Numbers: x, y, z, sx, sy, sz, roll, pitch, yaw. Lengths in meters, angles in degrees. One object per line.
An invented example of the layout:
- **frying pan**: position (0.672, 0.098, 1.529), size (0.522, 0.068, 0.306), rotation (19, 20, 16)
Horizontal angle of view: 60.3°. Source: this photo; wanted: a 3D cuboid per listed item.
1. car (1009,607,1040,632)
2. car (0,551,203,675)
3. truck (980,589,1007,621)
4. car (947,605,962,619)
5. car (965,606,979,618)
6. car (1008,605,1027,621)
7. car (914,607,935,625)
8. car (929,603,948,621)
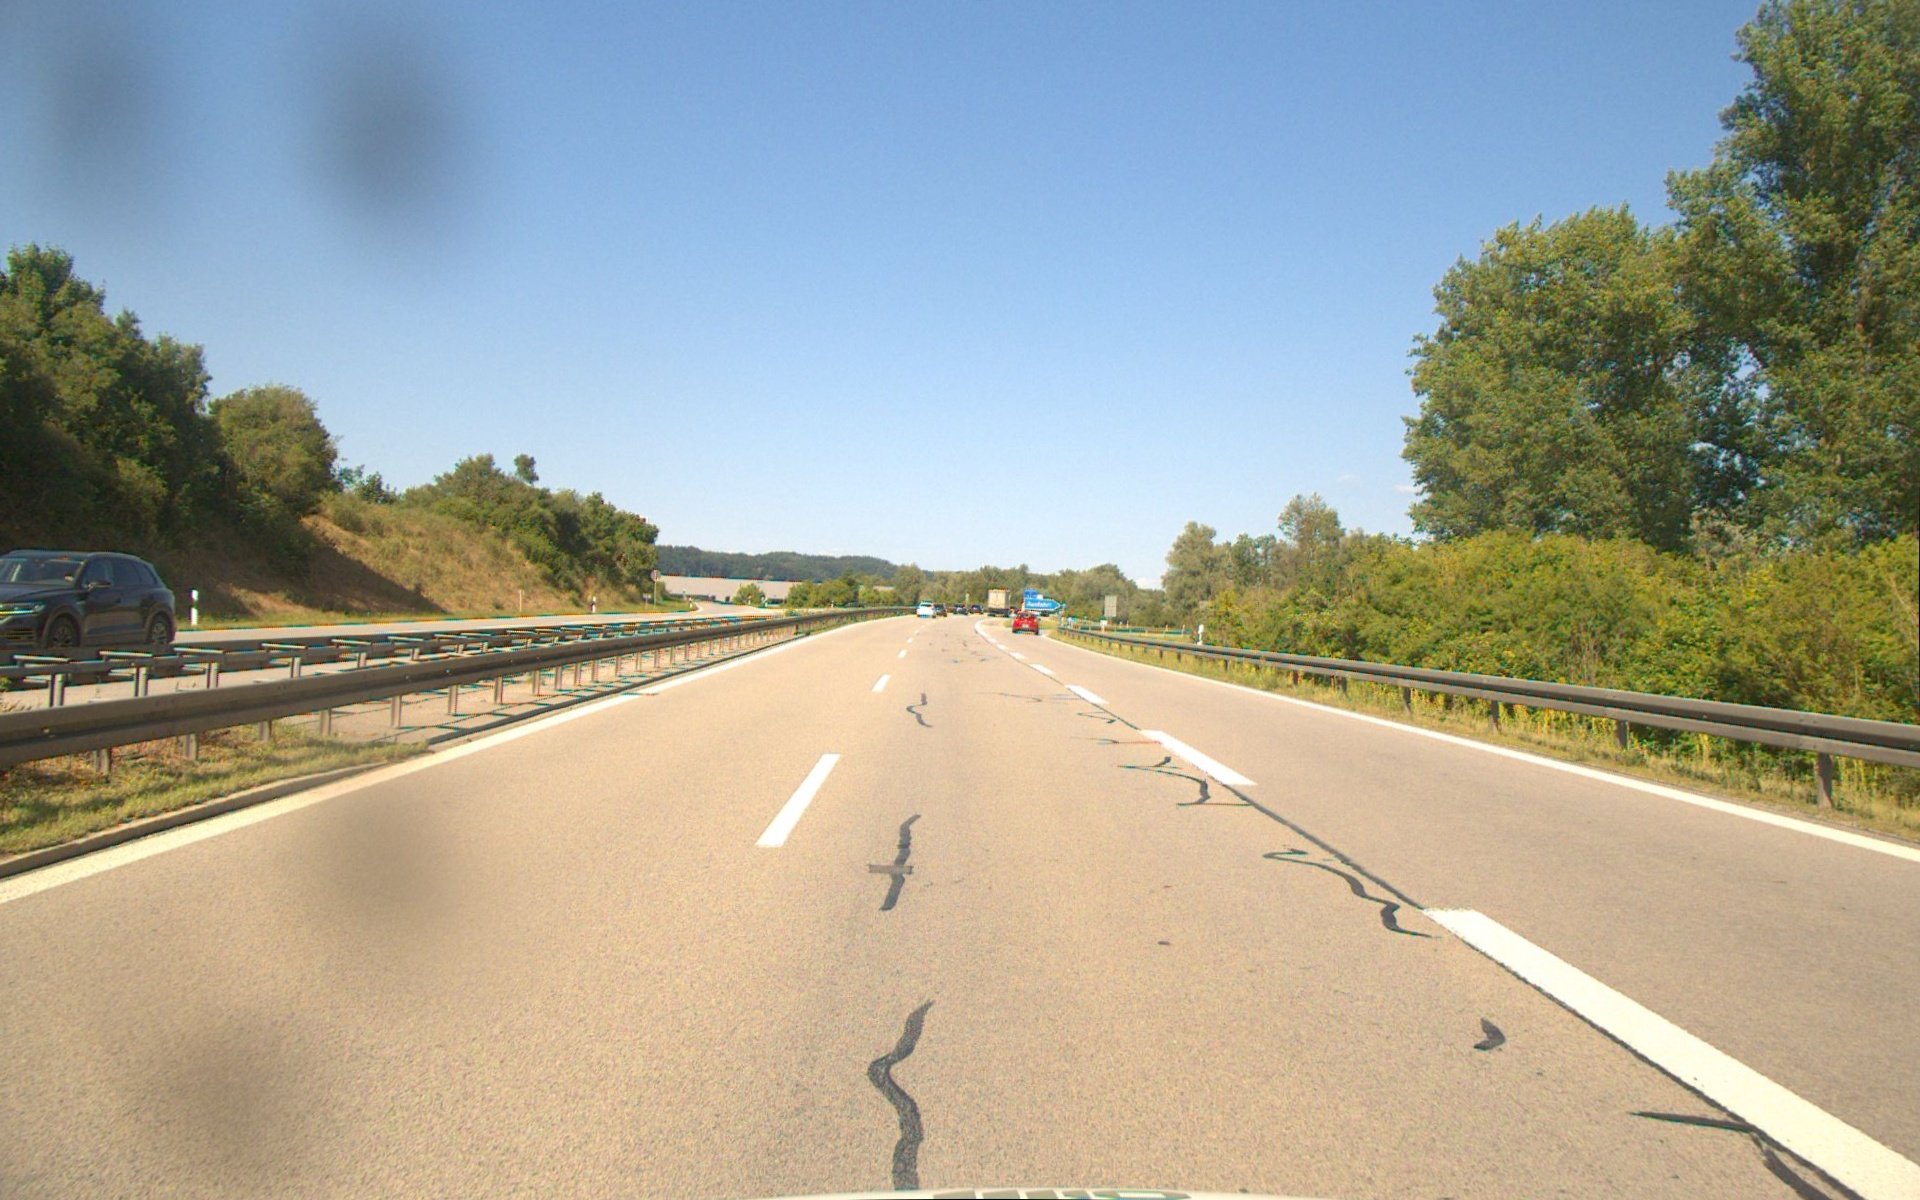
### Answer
- **car**: position (4.334, 1.337, 110.783), size (1.747, 1.456, 4.002), rotation (5, -1, 6)
- **car**: position (-13.553, 0.193, 24.929), size (1.953, 1.673, 5.082), rotation (1, -1, -1)
- **truck**: position (4.926, 0.731, 244.093), size (3.758, 4.474, 11.473), rotation (1, 0, 2)
- **car**: position (-0.762, 1.670, 224.970), size (1.953, 1.780, 3.999), rotation (2, 0, -1)
- **car**: position (1.851, 1.789, 254.795), size (1.952, 1.780, 4.000), rotation (2, 0, 1)
- **car**: position (6.709, 1.513, 192.733), size (1.953, 1.780, 3.999), rotation (2, 0, -1)
- **car**: position (-3.449, 1.585, 162.087), size (2.020, 1.653, 3.998), rotation (1, -3, -1)
- **car**: position (-2.336, 1.313, 181.719), size (1.953, 1.780, 3.999), rotation (2, 0, -1)
